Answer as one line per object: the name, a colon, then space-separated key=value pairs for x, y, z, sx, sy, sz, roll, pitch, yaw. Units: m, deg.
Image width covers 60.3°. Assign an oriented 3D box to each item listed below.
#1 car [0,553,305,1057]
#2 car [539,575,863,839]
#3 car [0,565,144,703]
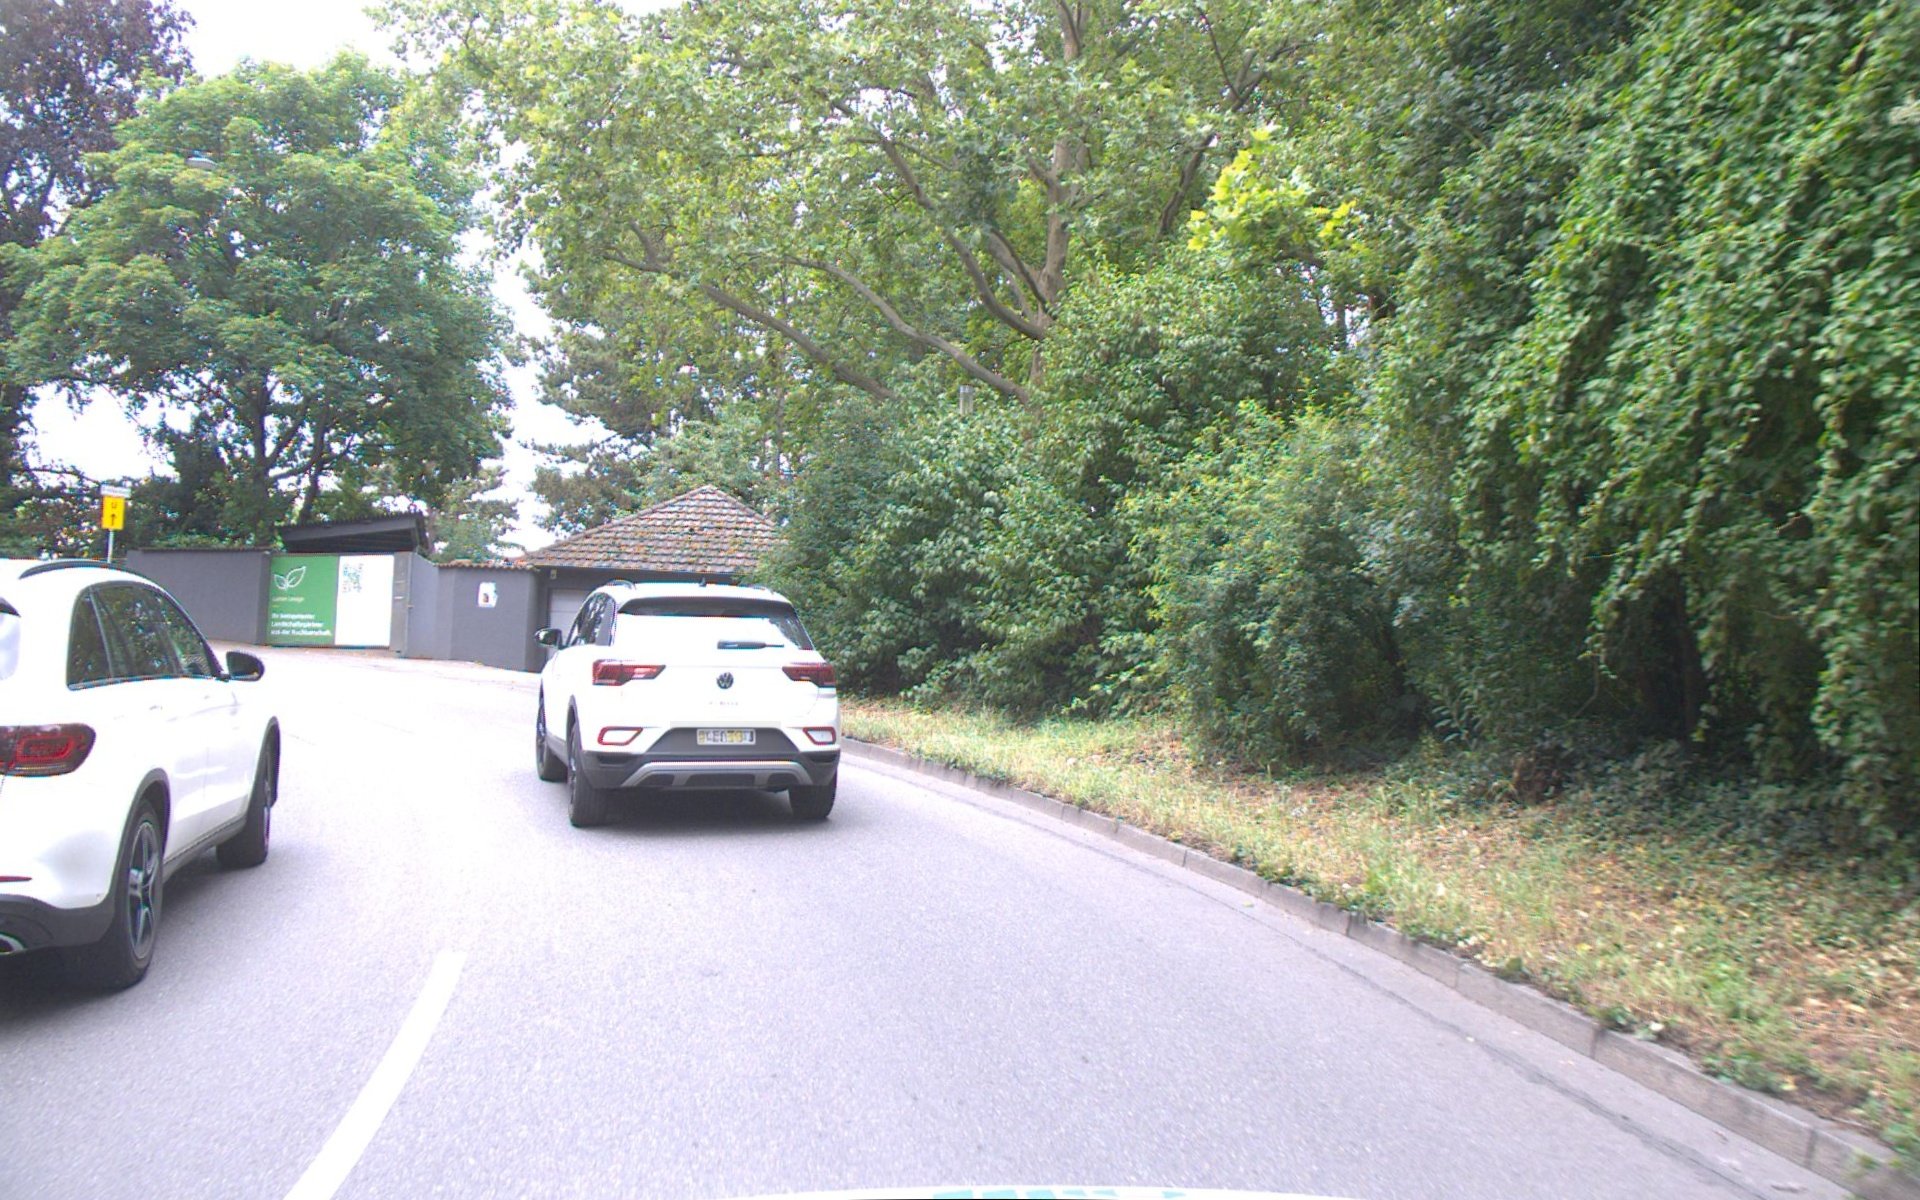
car: x=-4.310 y=0.654 z=7.458 sx=1.827 sy=1.633 sz=4.655 roll=0 pitch=0 yaw=-13
car: x=-2.091 y=0.614 z=12.242 sx=1.727 sy=1.580 sz=4.315 roll=0 pitch=1 yaw=-18
car: x=-11.793 y=0.350 z=21.409 sx=1.846 sy=1.560 sz=4.727 roll=0 pitch=1 yaw=-31
